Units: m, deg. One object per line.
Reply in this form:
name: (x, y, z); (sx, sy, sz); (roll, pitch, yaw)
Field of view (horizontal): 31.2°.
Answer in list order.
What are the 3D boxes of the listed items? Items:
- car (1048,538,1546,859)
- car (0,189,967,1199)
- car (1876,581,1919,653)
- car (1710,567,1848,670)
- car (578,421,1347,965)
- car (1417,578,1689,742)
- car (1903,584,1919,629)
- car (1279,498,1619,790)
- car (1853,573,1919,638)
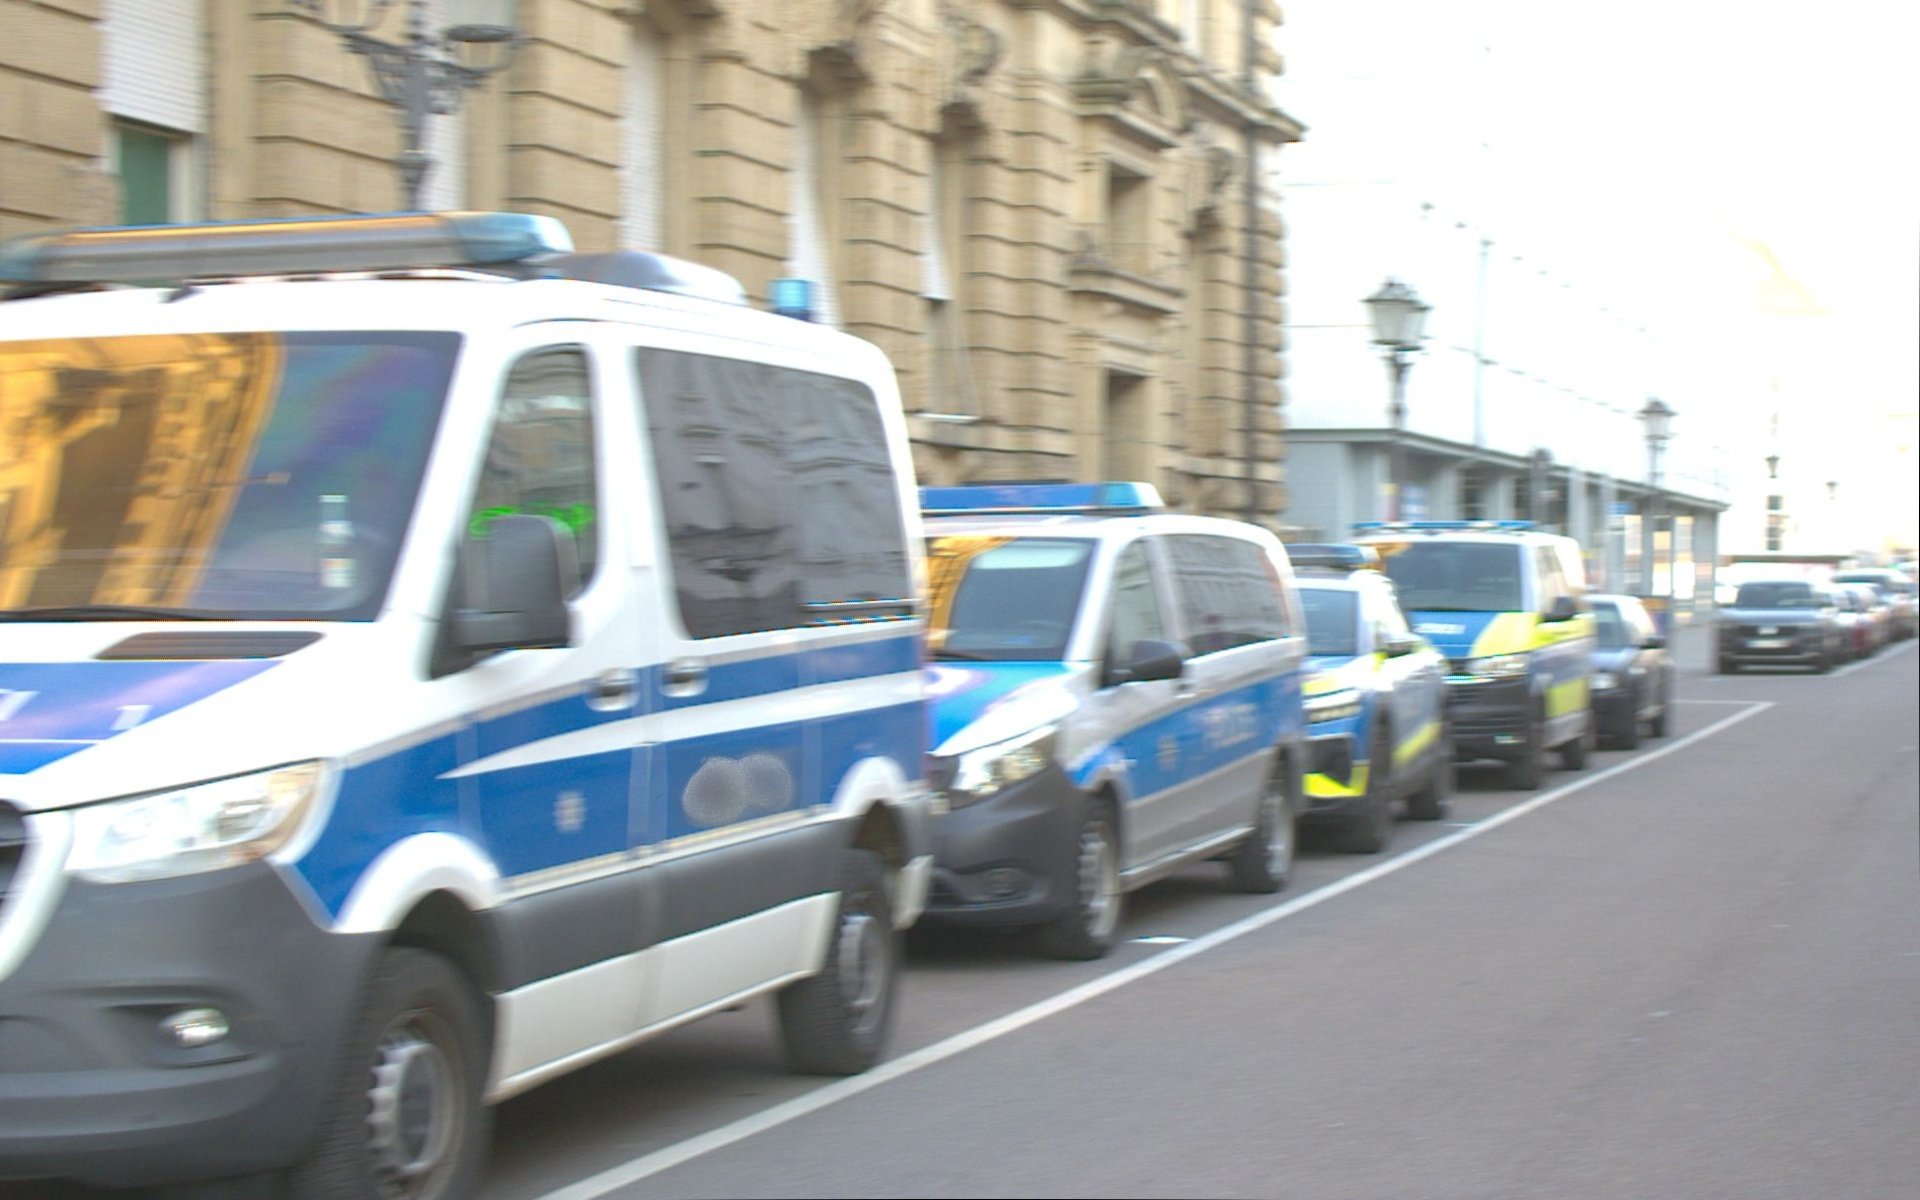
car: (2.244, 0.526, 21.374); (1.995, 1.746, 4.985); (0, 0, 19)
car: (-1.657, 0.288, 9.125); (1.995, 2.164, 5.203); (1, 1, 16)
car: (23.629, 0.389, 84.171); (1.995, 1.722, 4.511); (-1, 0, 19)
car: (13.456, 0.269, 56.350); (1.787, 1.609, 4.161); (0, 0, 19)
car: (0.249, 0.345, 15.941); (1.995, 2.080, 5.202); (0, 0, 19)
car: (5.857, 0.539, 33.570); (1.995, 1.489, 4.160); (0, 0, 19)
car: (31.234, 0.205, 109.979); (1.787, 1.404, 4.084); (0, 1, 19)
car: (3.958, 0.310, 27.101); (1.995, 2.070, 4.986); (0, 0, 16)
car: (24.897, 0.137, 91.244); (1.995, 1.656, 3.996); (1, 1, 19)
